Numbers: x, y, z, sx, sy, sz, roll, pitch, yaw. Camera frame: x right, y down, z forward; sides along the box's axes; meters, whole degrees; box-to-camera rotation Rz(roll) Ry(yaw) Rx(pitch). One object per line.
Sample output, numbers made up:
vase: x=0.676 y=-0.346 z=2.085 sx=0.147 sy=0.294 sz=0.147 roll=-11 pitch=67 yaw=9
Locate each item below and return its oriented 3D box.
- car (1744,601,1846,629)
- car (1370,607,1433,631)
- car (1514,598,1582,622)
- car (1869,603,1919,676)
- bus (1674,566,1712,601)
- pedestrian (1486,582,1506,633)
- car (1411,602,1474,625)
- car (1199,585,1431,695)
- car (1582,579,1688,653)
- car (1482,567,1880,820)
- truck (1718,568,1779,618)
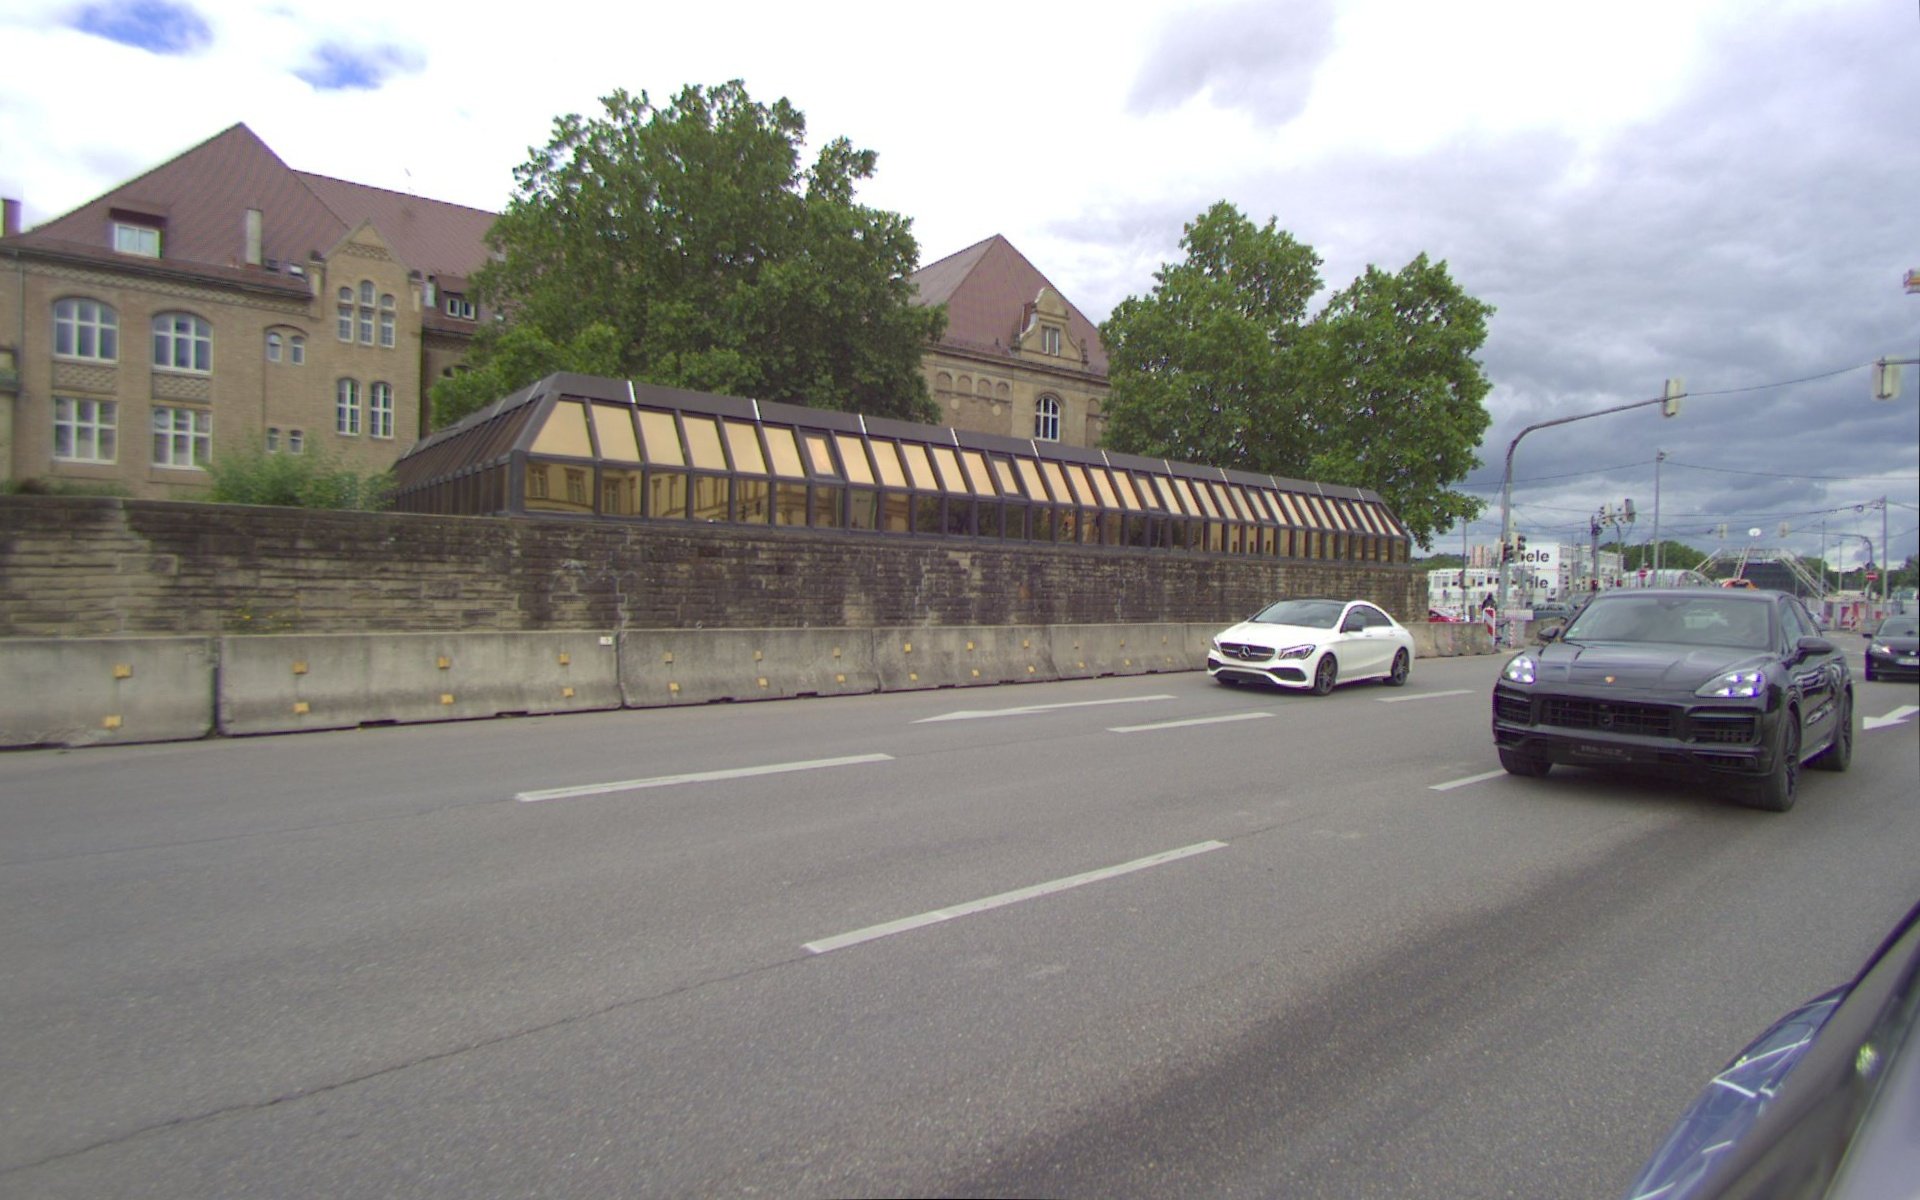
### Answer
car: x=51.132 y=0.894 z=62.027 sx=4.668 sy=1.599 sz=1.880 roll=0 pitch=0 yaw=45
car: x=29.205 y=1.240 z=67.063 sx=1.636 sy=1.453 sz=3.442 roll=-2 pitch=0 yaw=-39
car: x=41.686 y=0.708 z=71.836 sx=3.939 sy=1.594 sz=1.666 roll=0 pitch=-3 yaw=42
car: x=21.722 y=0.853 z=22.580 sx=4.344 sy=1.488 sz=1.731 roll=0 pitch=2 yaw=-43
bus: x=73.236 y=-1.599 z=101.032 sx=2.798 sy=3.209 sz=9.275 roll=2 pitch=0 yaw=37
pedestrian: x=21.930 y=0.305 z=41.422 sx=0.615 sy=2.039 sz=0.844 roll=0 pitch=0 yaw=22
car: x=32.435 y=0.890 z=68.054 sx=1.660 sy=1.453 sz=3.445 roll=-1 pitch=1 yaw=-37
car: x=5.785 y=0.524 z=16.225 sx=4.309 sy=1.453 sz=1.736 roll=-1 pitch=4 yaw=-44
car: x=20.250 y=0.460 z=30.305 sx=1.934 sy=1.961 sz=3.614 roll=5 pitch=2 yaw=44
car: x=6.563 y=0.559 z=8.993 sx=4.530 sy=1.668 sz=1.954 roll=-1 pitch=3 yaw=-42
truck: x=62.279 y=-0.594 z=80.083 sx=2.890 sy=3.721 sz=8.922 roll=1 pitch=1 yaw=32
